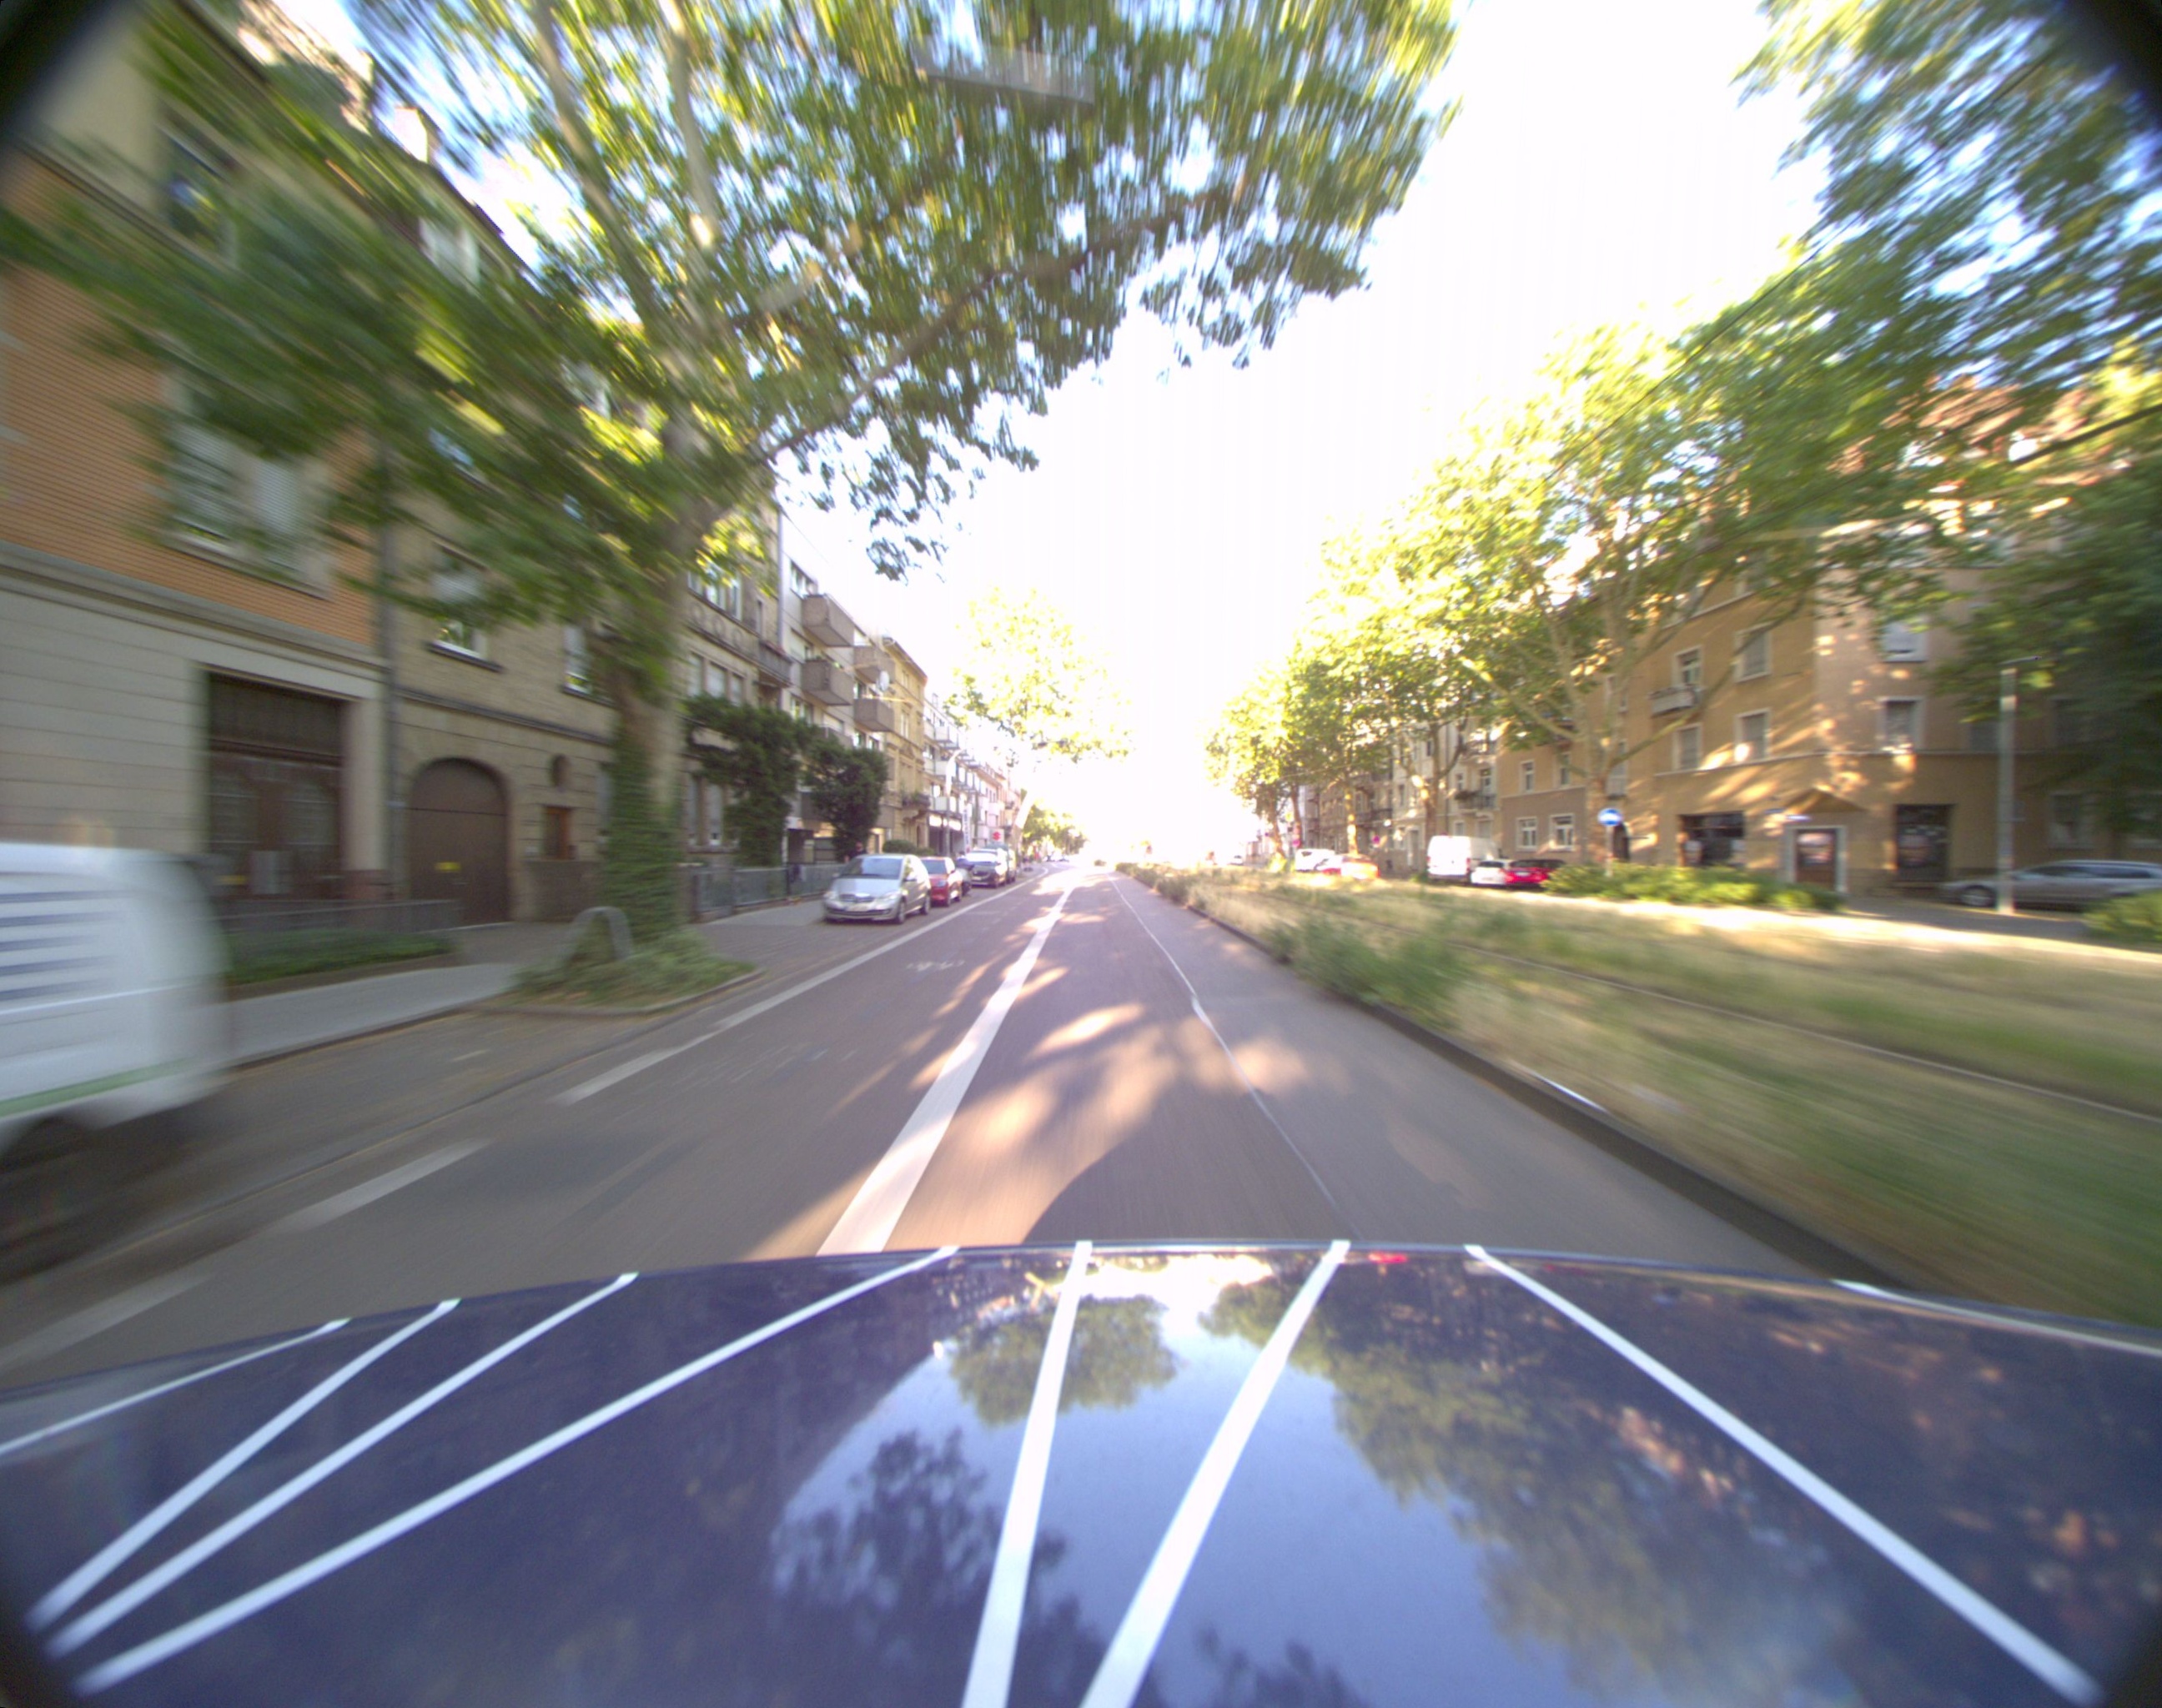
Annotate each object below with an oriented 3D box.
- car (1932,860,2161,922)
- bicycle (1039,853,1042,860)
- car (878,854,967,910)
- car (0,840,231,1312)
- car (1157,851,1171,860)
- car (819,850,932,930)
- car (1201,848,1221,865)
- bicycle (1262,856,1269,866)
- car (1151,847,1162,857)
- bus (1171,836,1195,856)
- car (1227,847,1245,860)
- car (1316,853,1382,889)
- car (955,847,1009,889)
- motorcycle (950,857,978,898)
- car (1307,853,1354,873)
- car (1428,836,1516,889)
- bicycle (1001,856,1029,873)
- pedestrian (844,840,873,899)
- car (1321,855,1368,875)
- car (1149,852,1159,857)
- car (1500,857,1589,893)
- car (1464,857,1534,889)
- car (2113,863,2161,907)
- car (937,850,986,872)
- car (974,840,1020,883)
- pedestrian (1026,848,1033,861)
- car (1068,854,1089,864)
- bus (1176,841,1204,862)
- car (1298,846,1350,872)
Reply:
[{"bbox_3d":[28.920,1.016,22.556,1.799,1.495,4.518,0,2,-30],"label":"car"},{"bbox_3d":[-7.040,0.437,131.788,0.438,1.092,1.931,0,0,-4],"label":"bicycle"},{"bbox_3d":[-4.858,0.810,23.902,1.999,1.551,3.979,0,1,-1],"label":"car"},{"bbox_3d":[-4.984,0.860,1.388,1.748,1.760,4.394,0,1,3],"label":"car"},{"bbox_3d":[13.408,0.230,122.364,1.720,1.477,4.699,2,0,0],"label":"car"},{"bbox_3d":[-4.866,0.777,18.515,1.749,1.681,3.851,0,1,-1],"label":"car"},{"bbox_3d":[13.848,0.245,81.065,1.872,1.684,4.778,0,1,8],"label":"car"},{"bbox_3d":[22.694,0.837,93.463,0.758,1.027,1.896,-6,0,14],"label":"bicycle"},{"bbox_3d":[13.459,-0.399,135.563,1.934,1.674,4.000,0,1,4],"label":"car"},{"bbox_3d":[18.365,-1.503,137.113,3.273,3.355,9.898,0,1,2],"label":"bus"},{"bbox_3d":[22.624,-0.073,111.245,1.909,1.776,4.653,0,1,2],"label":"car"},{"bbox_3d":[12.723,0.768,36.362,1.794,1.565,4.000,0,1,1],"label":"car"},{"bbox_3d":[-4.633,0.599,36.215,1.999,1.819,4.756,0,1,-1],"label":"car"},{"bbox_3d":[-4.365,0.849,28.226,0.826,1.390,2.377,2,0,-12],"label":"motorcycle"},{"bbox_3d":[19.931,0.683,60.689,4.185,1.482,1.717,-1,1,-42],"label":"car"},{"bbox_3d":[19.840,0.367,38.430,5.520,2.514,2.120,-1,1,-42],"label":"car"},{"bbox_3d":[-4.391,0.701,50.809,1.849,1.137,0.348,0,2,0],"label":"bicycle"},{"bbox_3d":[-7.341,0.514,25.098,0.712,1.926,0.815,0,1,1],"label":"pedestrian"},{"bbox_3d":[19.804,0.832,57.094,3.736,1.414,1.717,-1,1,-42],"label":"car"},{"bbox_3d":[20.258,0.217,211.766,1.738,1.471,3.811,0,0,-10],"label":"car"},{"bbox_3d":[19.956,0.887,32.711,3.716,1.457,1.732,1,0,-31],"label":"car"},{"bbox_3d":[19.653,0.849,35.640,3.717,1.391,1.731,-1,1,-42],"label":"car"},{"bbox_3d":[34.224,0.967,22.337,1.799,1.328,4.407,0,1,-30],"label":"car"},{"bbox_3d":[-8.935,0.514,56.995,3.427,1.538,1.442,0,2,-2],"label":"car"},{"bbox_3d":[-4.557,0.335,42.110,1.999,2.244,5.233,0,1,-1],"label":"car"},{"bbox_3d":[-7.299,0.108,107.807,0.831,1.802,1.150,0,2,-1],"label":"pedestrian"},{"bbox_3d":[-0.463,0.987,150.667,1.830,1.696,4.008,1,2,41],"label":"car"},{"bbox_3d":[17.967,-0.526,126.158,3.262,3.355,11.976,0,1,2],"label":"bus"},{"bbox_3d":[20.344,0.375,63.411,5.257,2.054,1.717,-1,1,-42],"label":"car"}]
